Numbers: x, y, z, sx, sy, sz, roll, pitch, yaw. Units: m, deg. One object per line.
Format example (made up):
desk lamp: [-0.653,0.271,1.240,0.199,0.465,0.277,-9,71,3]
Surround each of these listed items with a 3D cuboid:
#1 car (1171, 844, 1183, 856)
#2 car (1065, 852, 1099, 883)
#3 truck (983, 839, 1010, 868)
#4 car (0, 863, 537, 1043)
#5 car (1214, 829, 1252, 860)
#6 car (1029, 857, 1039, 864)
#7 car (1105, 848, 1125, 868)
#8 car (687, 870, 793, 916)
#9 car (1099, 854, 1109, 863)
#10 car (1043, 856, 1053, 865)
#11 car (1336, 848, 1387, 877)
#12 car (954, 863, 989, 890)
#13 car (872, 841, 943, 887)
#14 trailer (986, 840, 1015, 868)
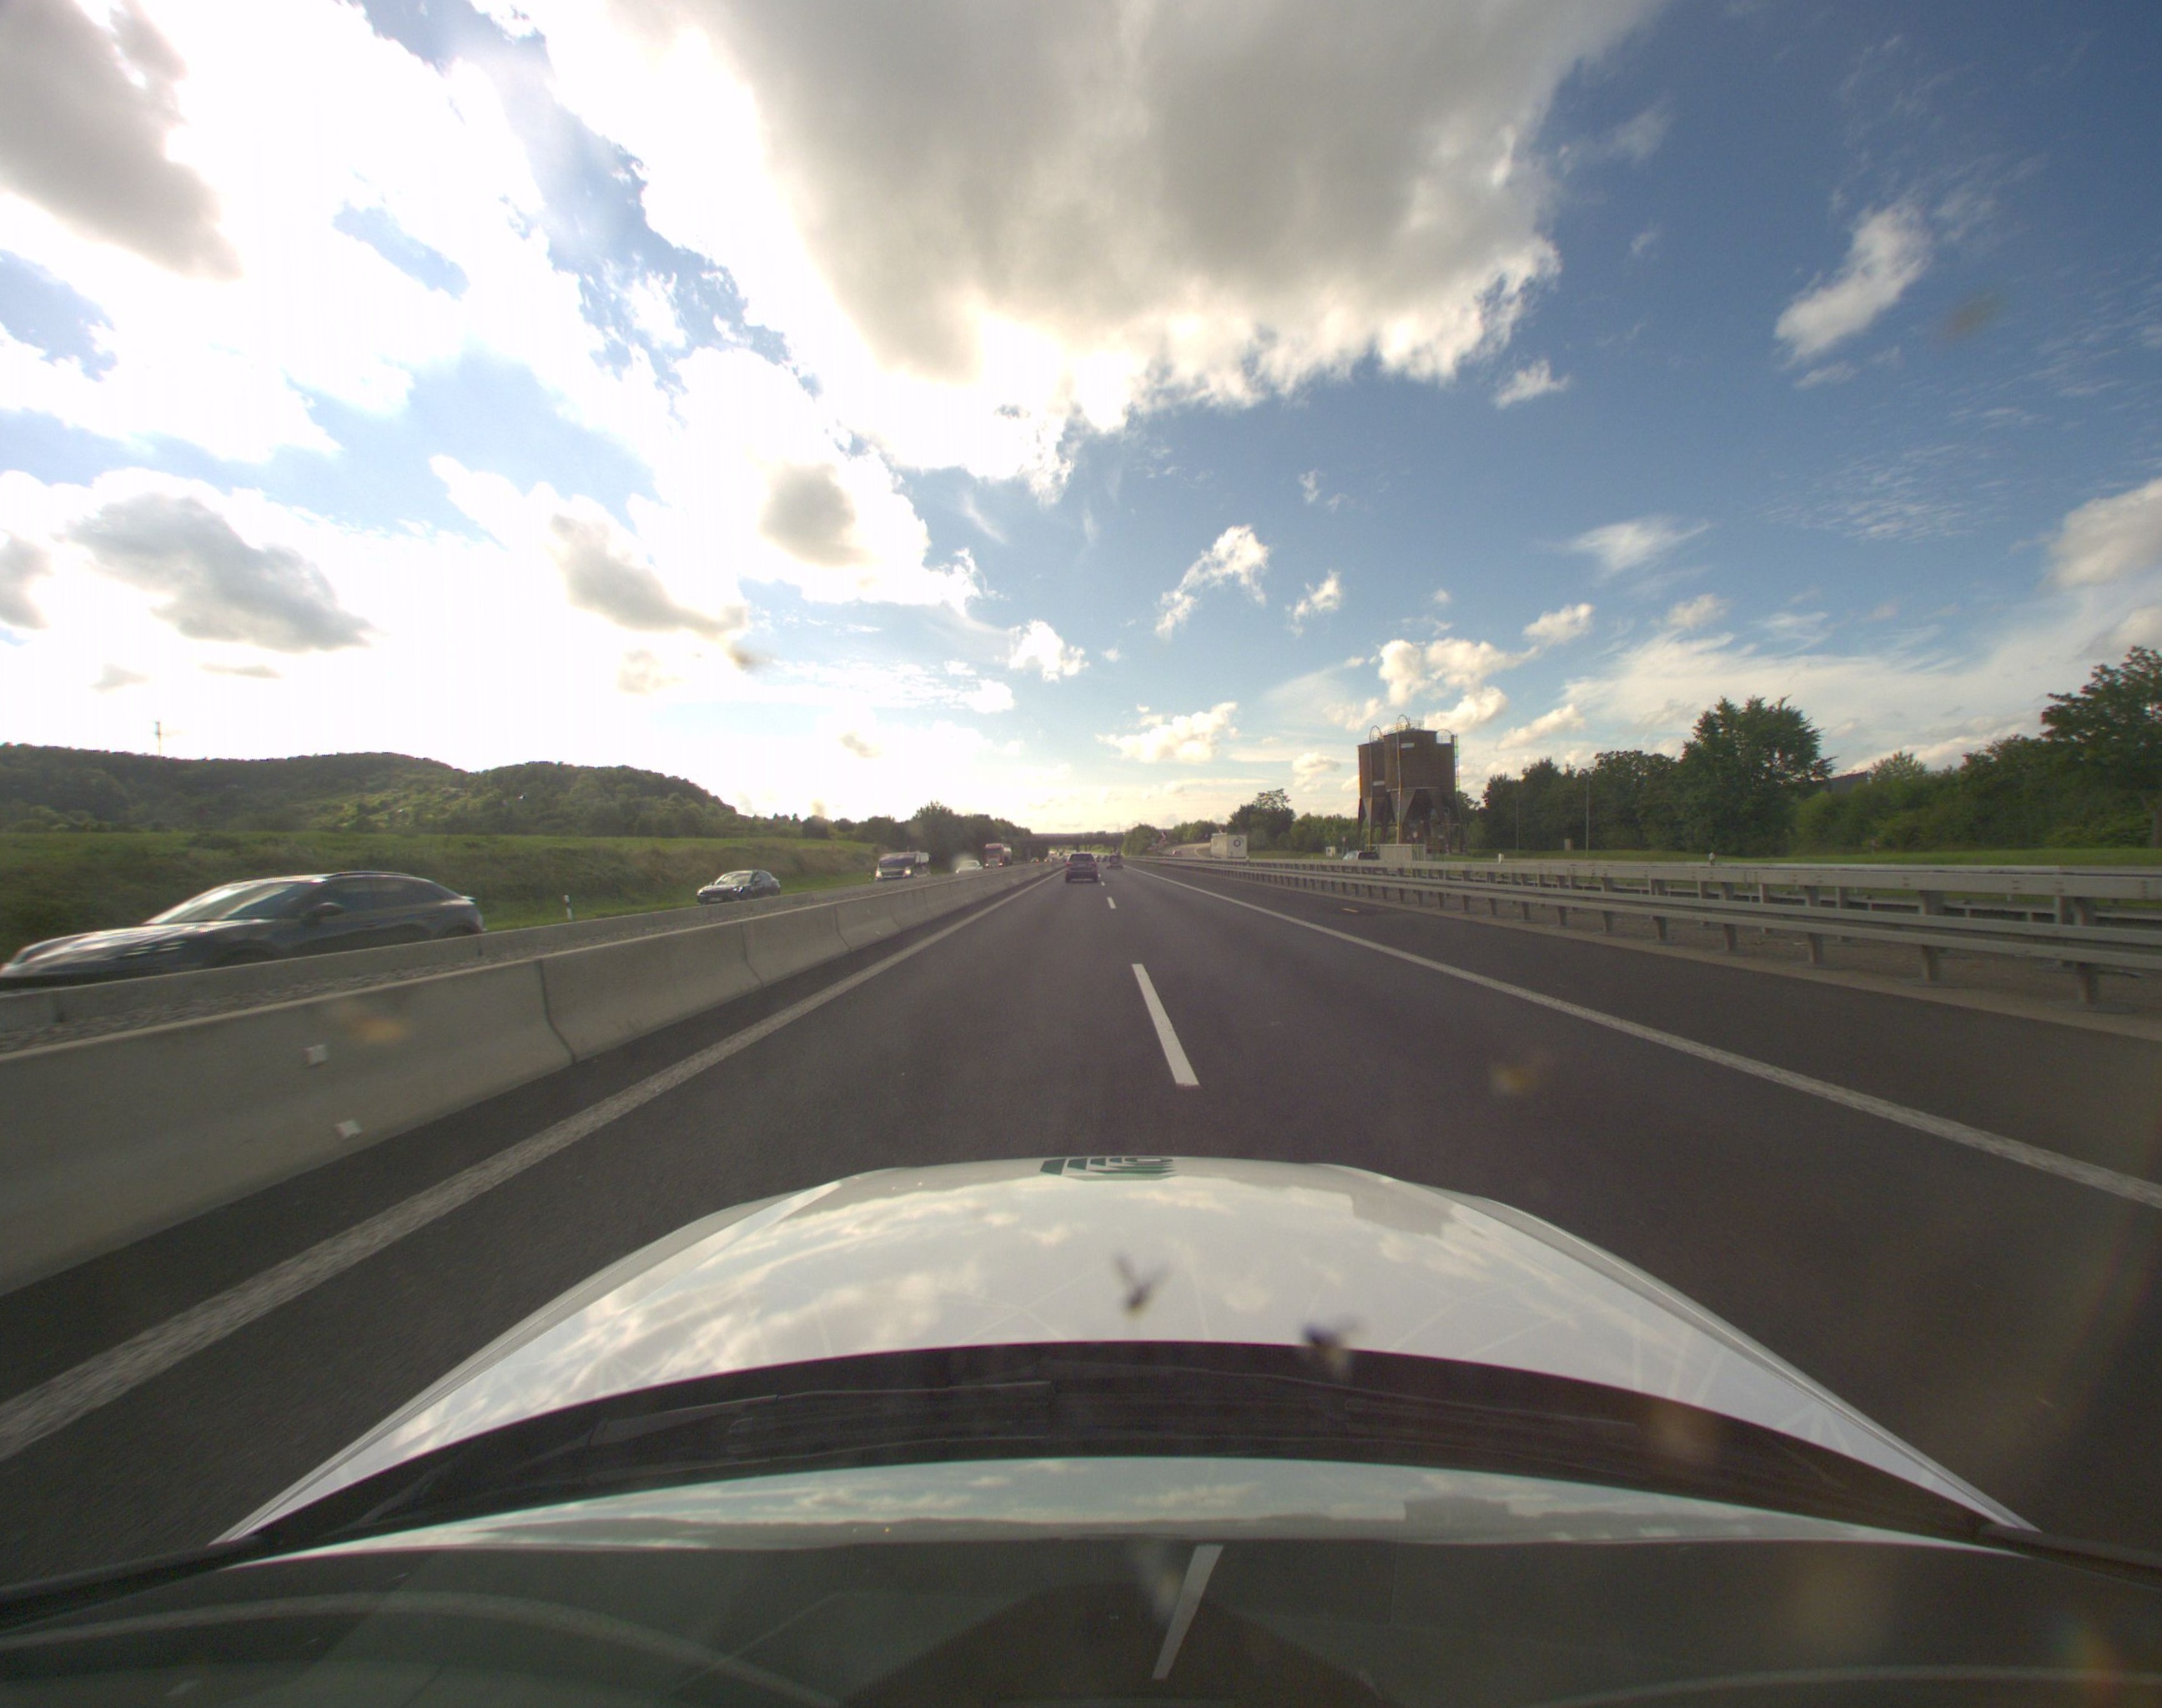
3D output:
car: [17.794,-0.697,150.582,1.984,2.013,4.006,-3,0,5]
car: [0.107,0.729,47.024,1.743,1.630,3.611,-3,0,2]
truck: [-12.311,-0.046,119.299,2.727,3.924,6.904,-3,0,2]
car: [-9.775,0.974,10.294,1.986,1.573,5.367,-3,0,2]
car: [19.935,-1.184,107.082,3.564,3.676,7.549,-3,0,1]
car: [-11.441,1.599,197.184,1.987,1.717,4.000,-3,0,1]
car: [3.714,0.409,89.753,1.987,2.080,4.000,-3,0,1]
car: [-13.246,1.474,31.970,1.986,1.478,4.693,-3,0,2]
car: [5.031,0.973,179.998,1.968,1.779,4.120,-3,0,1]
car: [-7.567,1.453,185.482,1.801,1.832,4.398,-3,0,2]
car: [18.474,0.529,53.853,1.987,1.717,4.000,-3,0,1]
car: [-8.845,1.814,66.132,1.986,2.013,4.679,-2,0,2]
car: [-8.495,0.461,40.481,1.986,2.013,5.843,-3,0,2]
trailer: [-12.143,-0.034,124.081,2.703,3.887,11.165,-3,0,2]
